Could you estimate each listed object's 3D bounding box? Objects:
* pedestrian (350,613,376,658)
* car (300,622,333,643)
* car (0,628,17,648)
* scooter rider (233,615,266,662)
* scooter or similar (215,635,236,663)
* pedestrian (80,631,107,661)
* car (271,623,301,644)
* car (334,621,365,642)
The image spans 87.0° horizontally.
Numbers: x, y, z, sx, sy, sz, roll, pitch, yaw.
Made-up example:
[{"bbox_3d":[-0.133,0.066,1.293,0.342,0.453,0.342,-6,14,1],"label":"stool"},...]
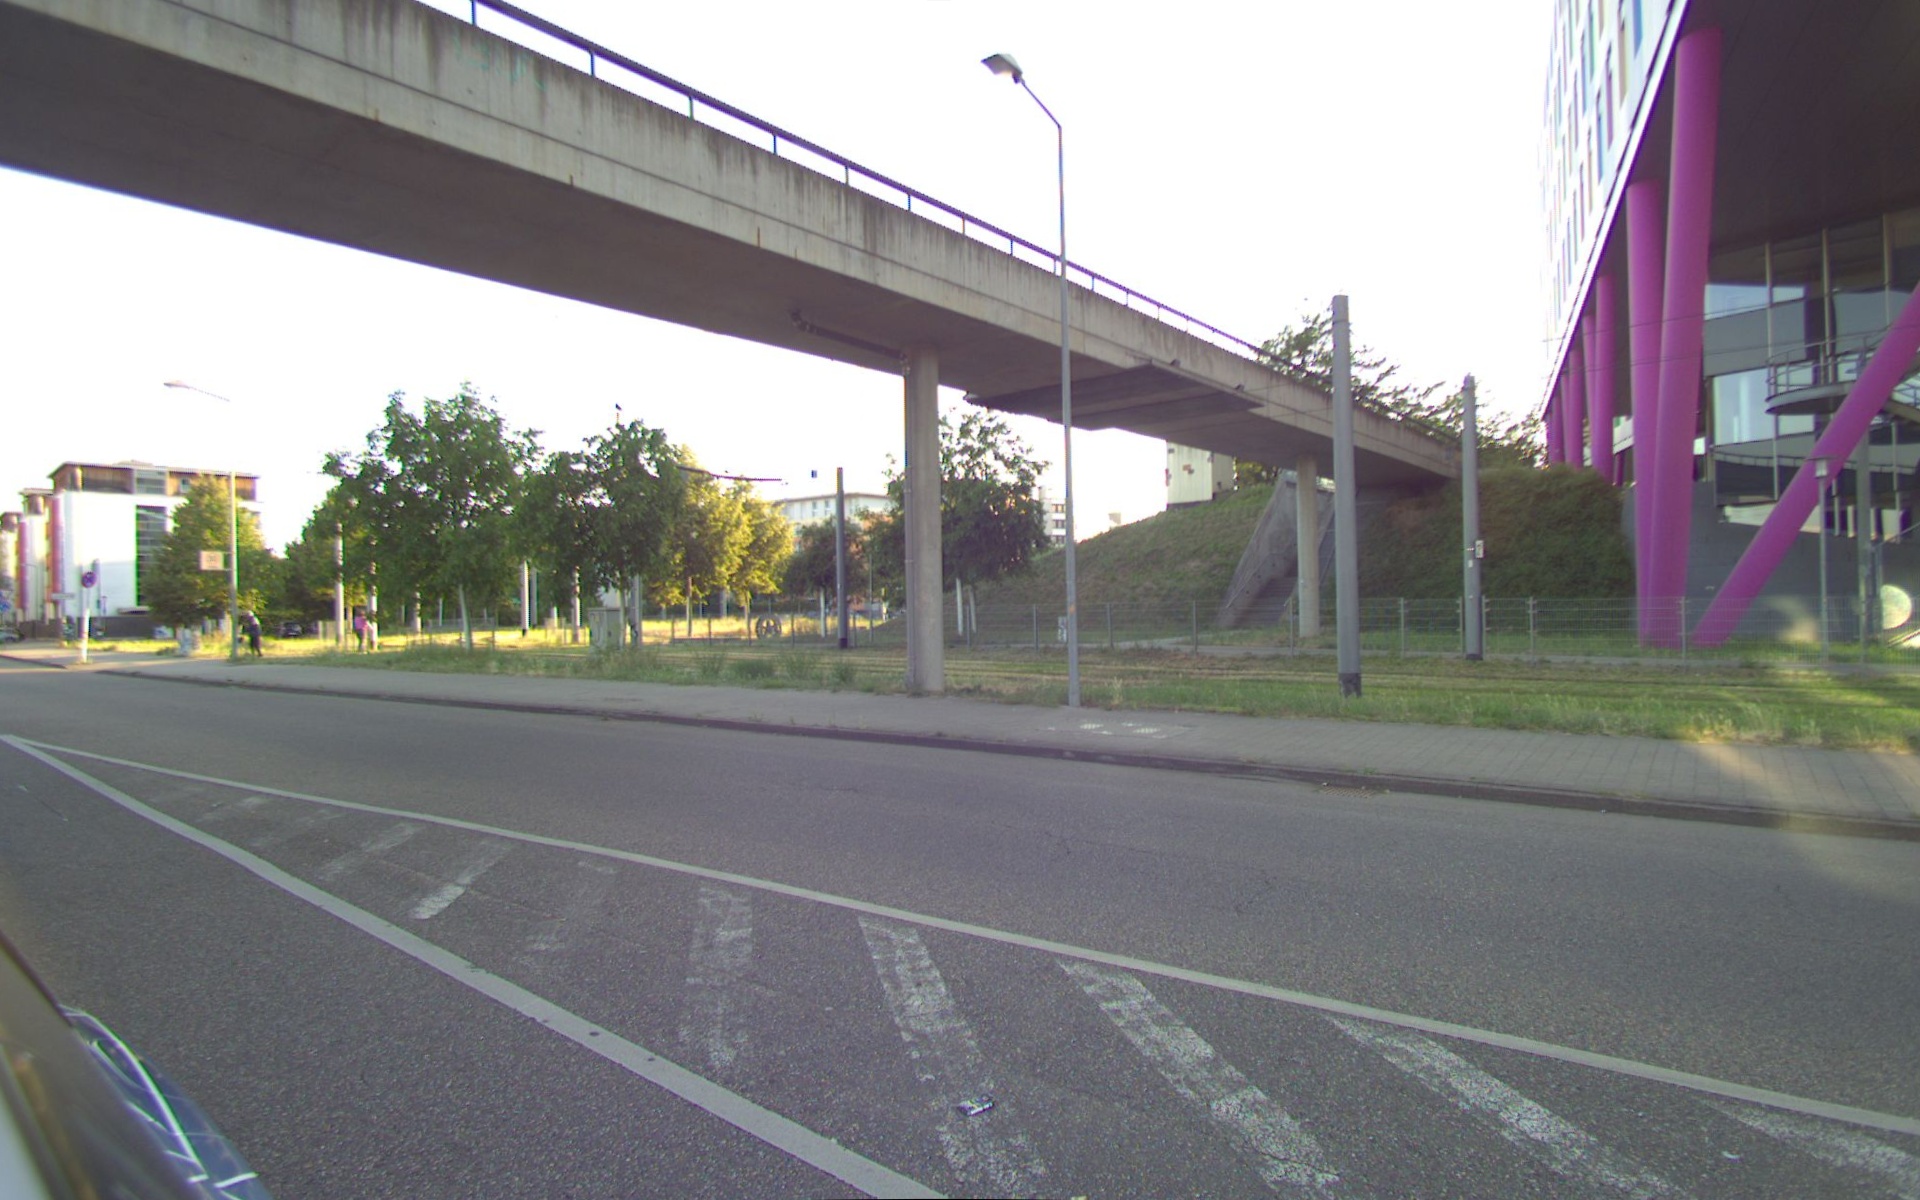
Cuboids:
[{"bbox_3d":[-21.989,1.287,37.253,0.767,1.623,0.417,-1,-1,-38],"label":"pedestrian"},{"bbox_3d":[-55.372,2.777,87.052,1.843,1.734,3.851,-1,-1,-40],"label":"car"},{"bbox_3d":[-80.760,3.167,83.405,1.839,1.571,4.330,-1,0,42],"label":"car"},{"bbox_3d":[-24.716,1.323,35.191,0.884,1.589,0.713,-1,-1,-39],"label":"scooter rider"},{"bbox_3d":[-25.225,1.678,34.764,0.544,0.902,0.724,1,-1,-40],"label":"scooter or similar"},{"bbox_3d":[-59.326,3.133,69.283,1.072,2.029,1.143,-1,0,-21],"label":"pedestrian"},{"bbox_3d":[-57.012,2.805,85.604,1.842,1.734,3.853,-1,-1,-38],"label":"car"},{"bbox_3d":[-53.572,2.753,88.776,1.842,1.734,3.853,-1,-1,-38],"label":"car"}]
